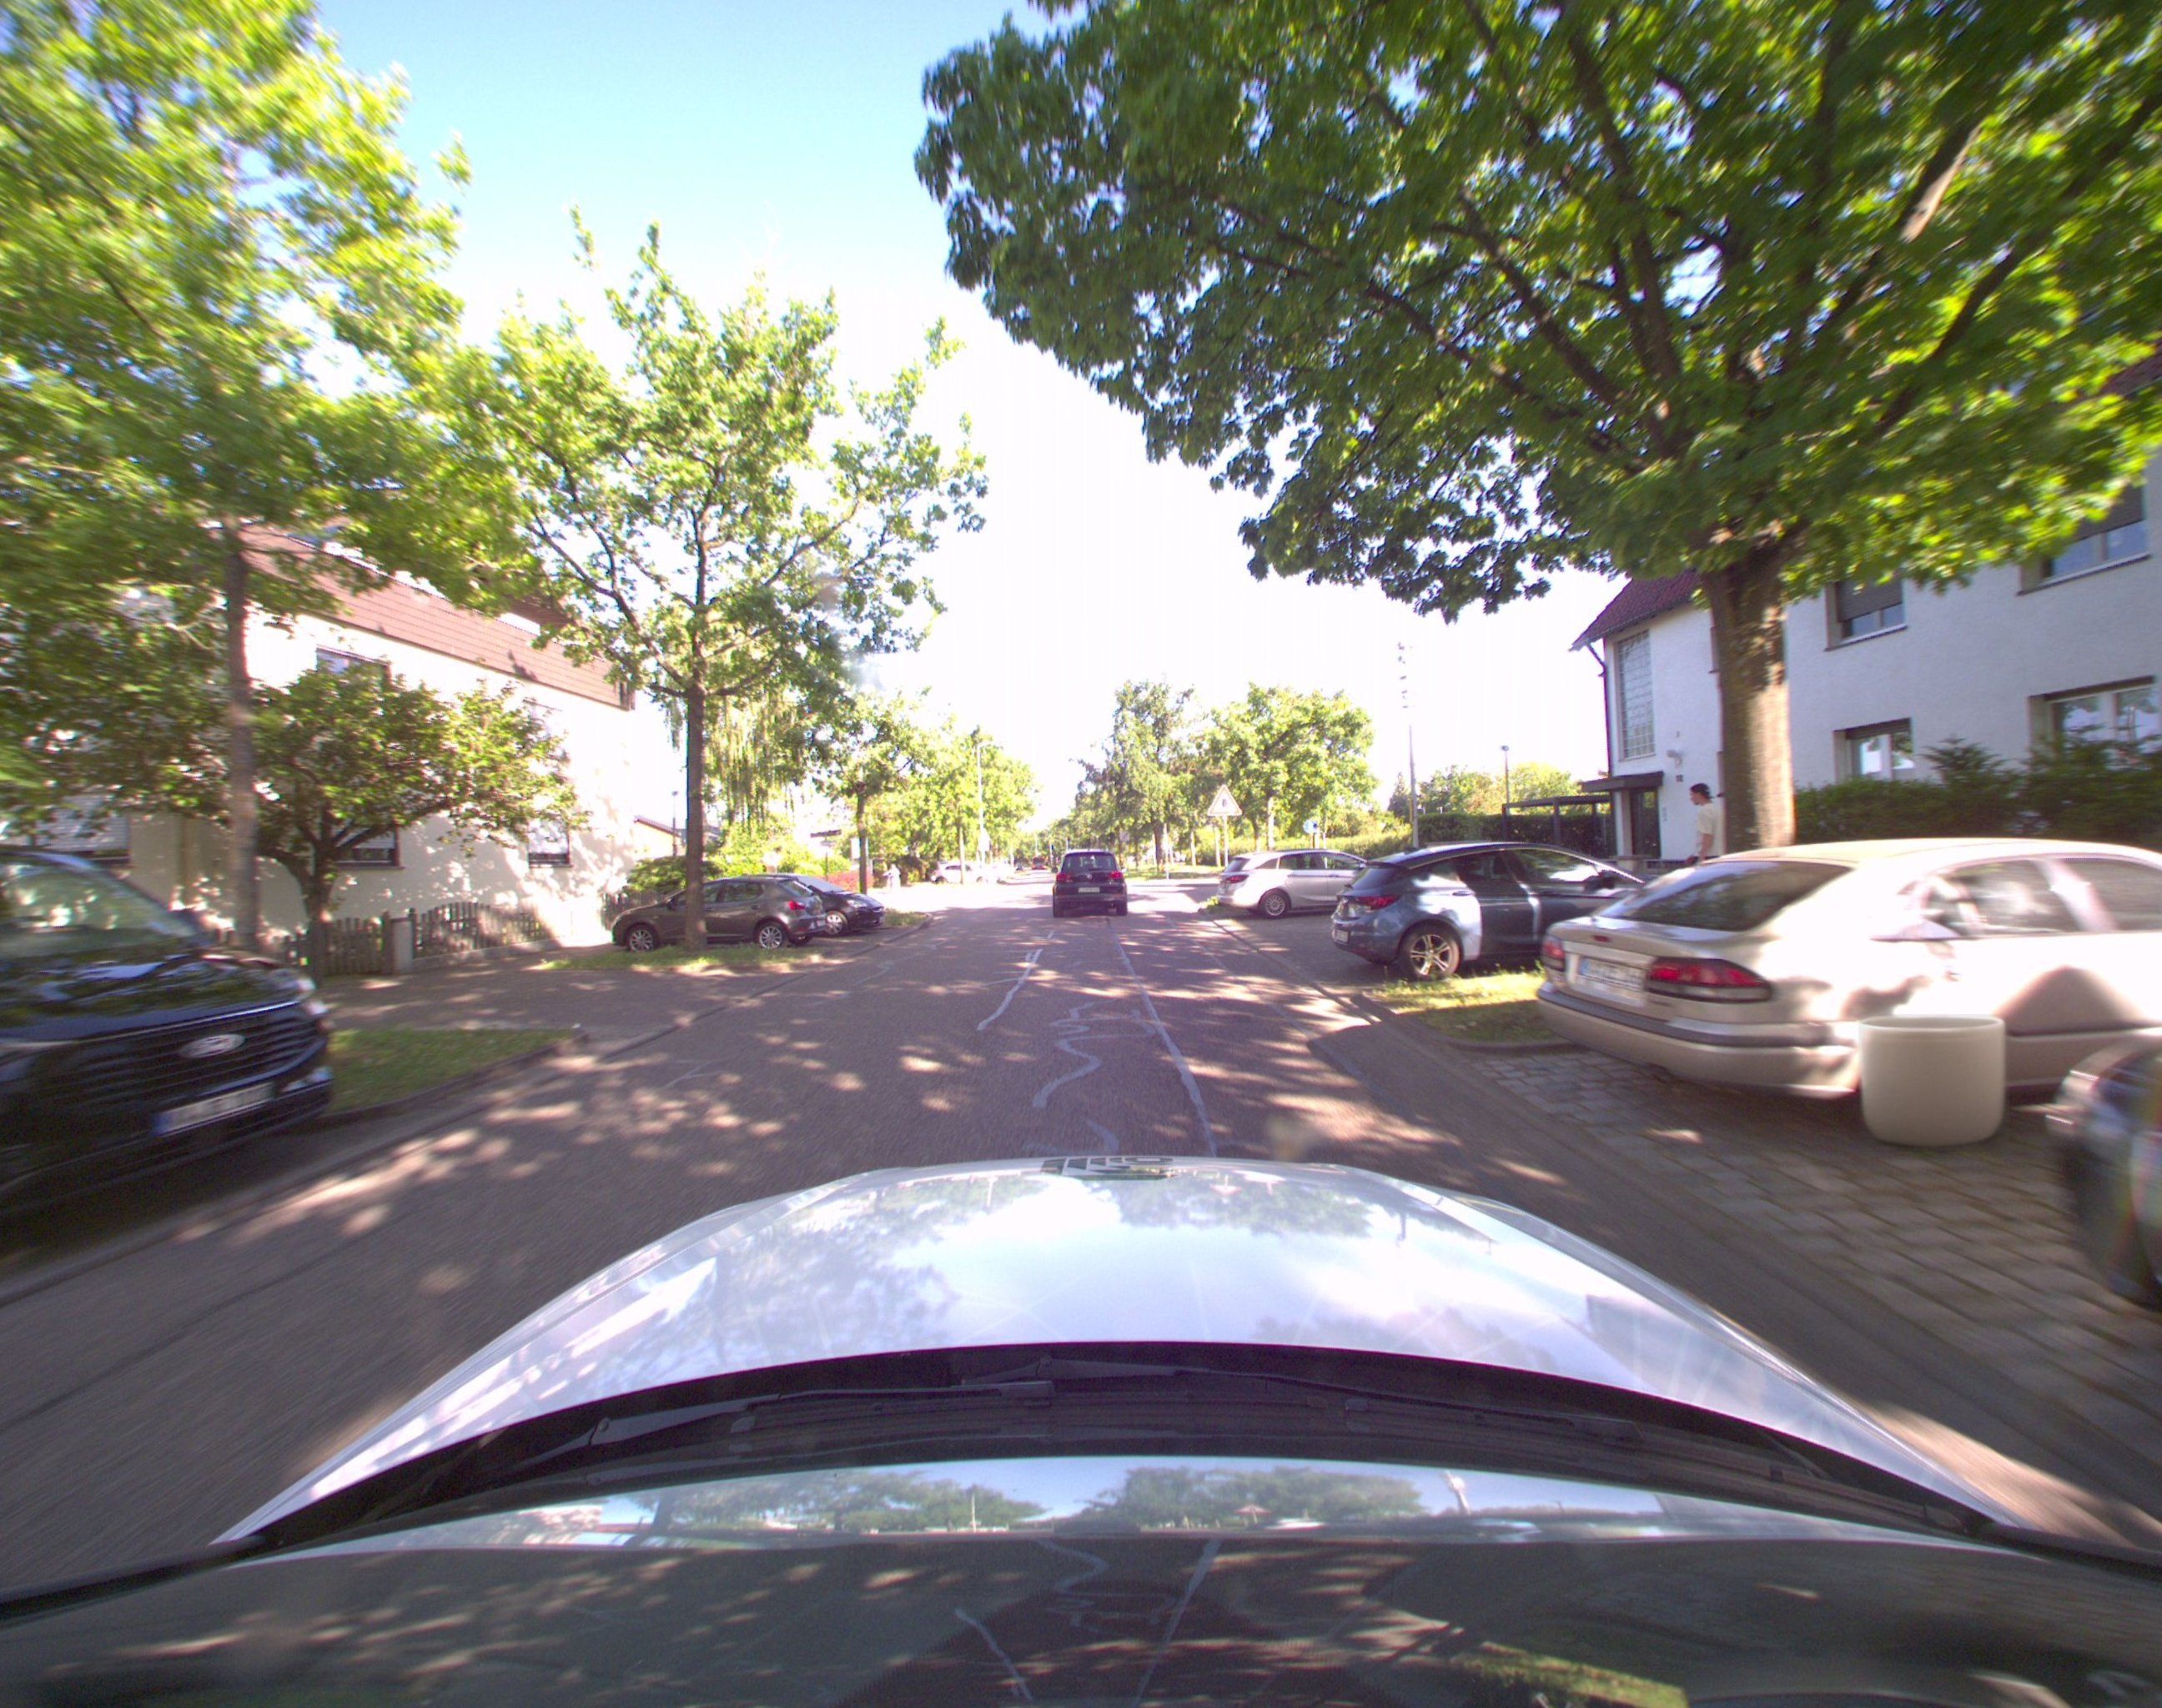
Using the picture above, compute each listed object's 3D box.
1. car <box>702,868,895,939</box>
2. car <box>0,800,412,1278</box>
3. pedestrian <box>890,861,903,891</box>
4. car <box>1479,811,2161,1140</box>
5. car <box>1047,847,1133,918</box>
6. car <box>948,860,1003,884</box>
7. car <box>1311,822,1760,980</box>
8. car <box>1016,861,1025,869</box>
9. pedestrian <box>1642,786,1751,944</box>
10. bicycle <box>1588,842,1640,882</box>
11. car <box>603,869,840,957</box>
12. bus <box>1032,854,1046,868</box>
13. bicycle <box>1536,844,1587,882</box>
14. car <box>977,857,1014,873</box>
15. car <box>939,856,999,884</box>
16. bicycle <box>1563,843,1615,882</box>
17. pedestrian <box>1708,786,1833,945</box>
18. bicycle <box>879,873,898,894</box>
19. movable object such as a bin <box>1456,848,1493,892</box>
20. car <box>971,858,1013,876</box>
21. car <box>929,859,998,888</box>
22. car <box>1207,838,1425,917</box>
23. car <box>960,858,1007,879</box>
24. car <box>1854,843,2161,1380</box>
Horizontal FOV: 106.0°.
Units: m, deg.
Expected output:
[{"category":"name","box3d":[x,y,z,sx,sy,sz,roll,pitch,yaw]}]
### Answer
[{"category":"car","box3d":[-6.524,1.131,19.073,3.842,1.459,1.715,-2,0,2]},{"category":"car","box3d":[-6.721,0.850,4.209,4.762,1.917,2.019,-3,0,0]},{"category":"pedestrian","box3d":[-9.886,1.164,43.666,0.439,1.557,0.801,-3,0,1]},{"category":"car","box3d":[4.918,0.526,4.799,4.266,1.414,1.795,-3,0,-3]},{"category":"car","box3d":[0.333,0.675,21.185,1.829,1.636,3.964,-2,0,5]},{"category":"car","box3d":[-8.169,1.391,63.333,4.006,1.647,1.895,-3,0,-2]},{"category":"car","box3d":[5.116,0.510,9.653,4.259,1.503,1.798,-3,0,2]},{"category":"car","box3d":[-14.508,2.657,194.271,1.847,1.693,3.953,-3,0,-2]},{"category":"pedestrian","box3d":[7.688,0.136,10.218,0.605,1.873,0.925,-3,-1,4]},{"category":"bicycle","box3d":[15.147,0.210,23.133,1.679,1.054,0.527,-3,0,-31]},{"category":"car","box3d":[-6.976,1.119,16.099,3.806,1.419,1.772,-3,0,0]},{"category":"bus","box3d":[-9.415,1.580,182.422,2.920,3.003,5.734,-3,0,-1]},{"category":"bicycle","box3d":[14.359,0.256,24.336,1.679,1.054,0.527,-3,0,-31]},{"category":"car","box3d":[-9.898,1.310,94.151,4.006,1.647,1.810,-3,0,-2]},{"category":"car","box3d":[-8.007,1.131,58.445,4.006,1.839,1.895,-3,0,-2]},{"category":"bicycle","box3d":[14.763,0.232,23.651,1.679,1.054,0.527,-3,0,-31]},{"category":"pedestrian","box3d":[8.409,0.141,9.969,0.831,1.828,0.711,-3,-1,4]},{"category":"bicycle","box3d":[-10.312,1.576,43.664,0.445,1.039,1.893,-3,-1,1]},{"category":"movable object such as a bin","box3d":[9.800,0.389,20.305,0.532,1.045,0.700,-3,0,0]},{"category":"car","box3d":[-9.150,1.357,83.869,4.006,1.647,1.810,-3,0,-2]},{"category":"car","box3d":[-7.596,1.255,52.958,4.231,1.623,1.895,-3,0,-2]},{"category":"car","box3d":[5.191,0.507,18.438,4.410,1.491,1.798,-3,0,2]},{"category":"car","box3d":[-8.731,1.263,73.263,4.006,1.647,1.810,-3,0,-2]},{"category":"car","box3d":[4.950,0.592,1.951,4.329,1.363,1.874,-3,0,2]}]
